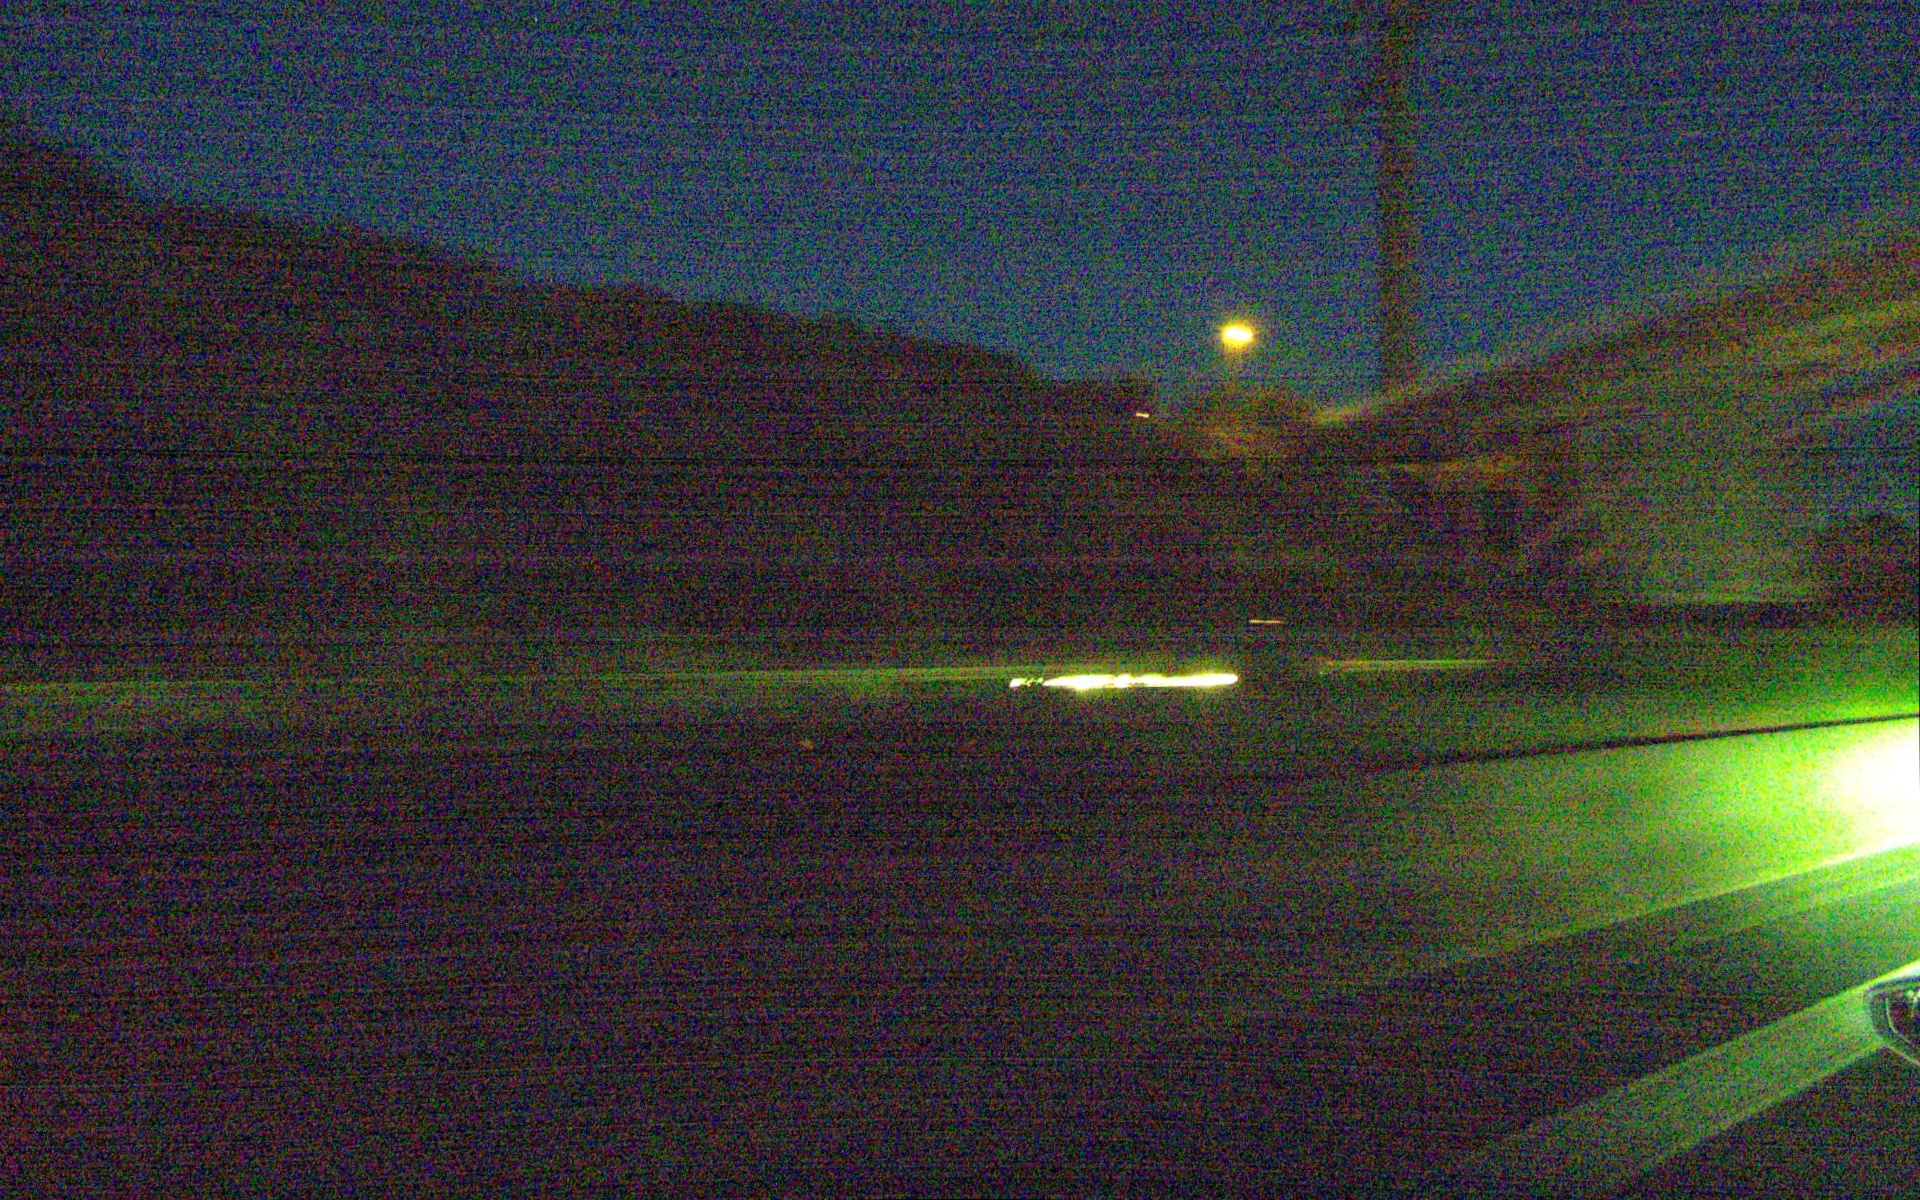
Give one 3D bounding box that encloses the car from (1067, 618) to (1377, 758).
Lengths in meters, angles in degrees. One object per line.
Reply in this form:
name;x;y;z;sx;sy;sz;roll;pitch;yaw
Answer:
car;4.168;1.233;15.662;4.998;1.779;1.679;0;1;-31
